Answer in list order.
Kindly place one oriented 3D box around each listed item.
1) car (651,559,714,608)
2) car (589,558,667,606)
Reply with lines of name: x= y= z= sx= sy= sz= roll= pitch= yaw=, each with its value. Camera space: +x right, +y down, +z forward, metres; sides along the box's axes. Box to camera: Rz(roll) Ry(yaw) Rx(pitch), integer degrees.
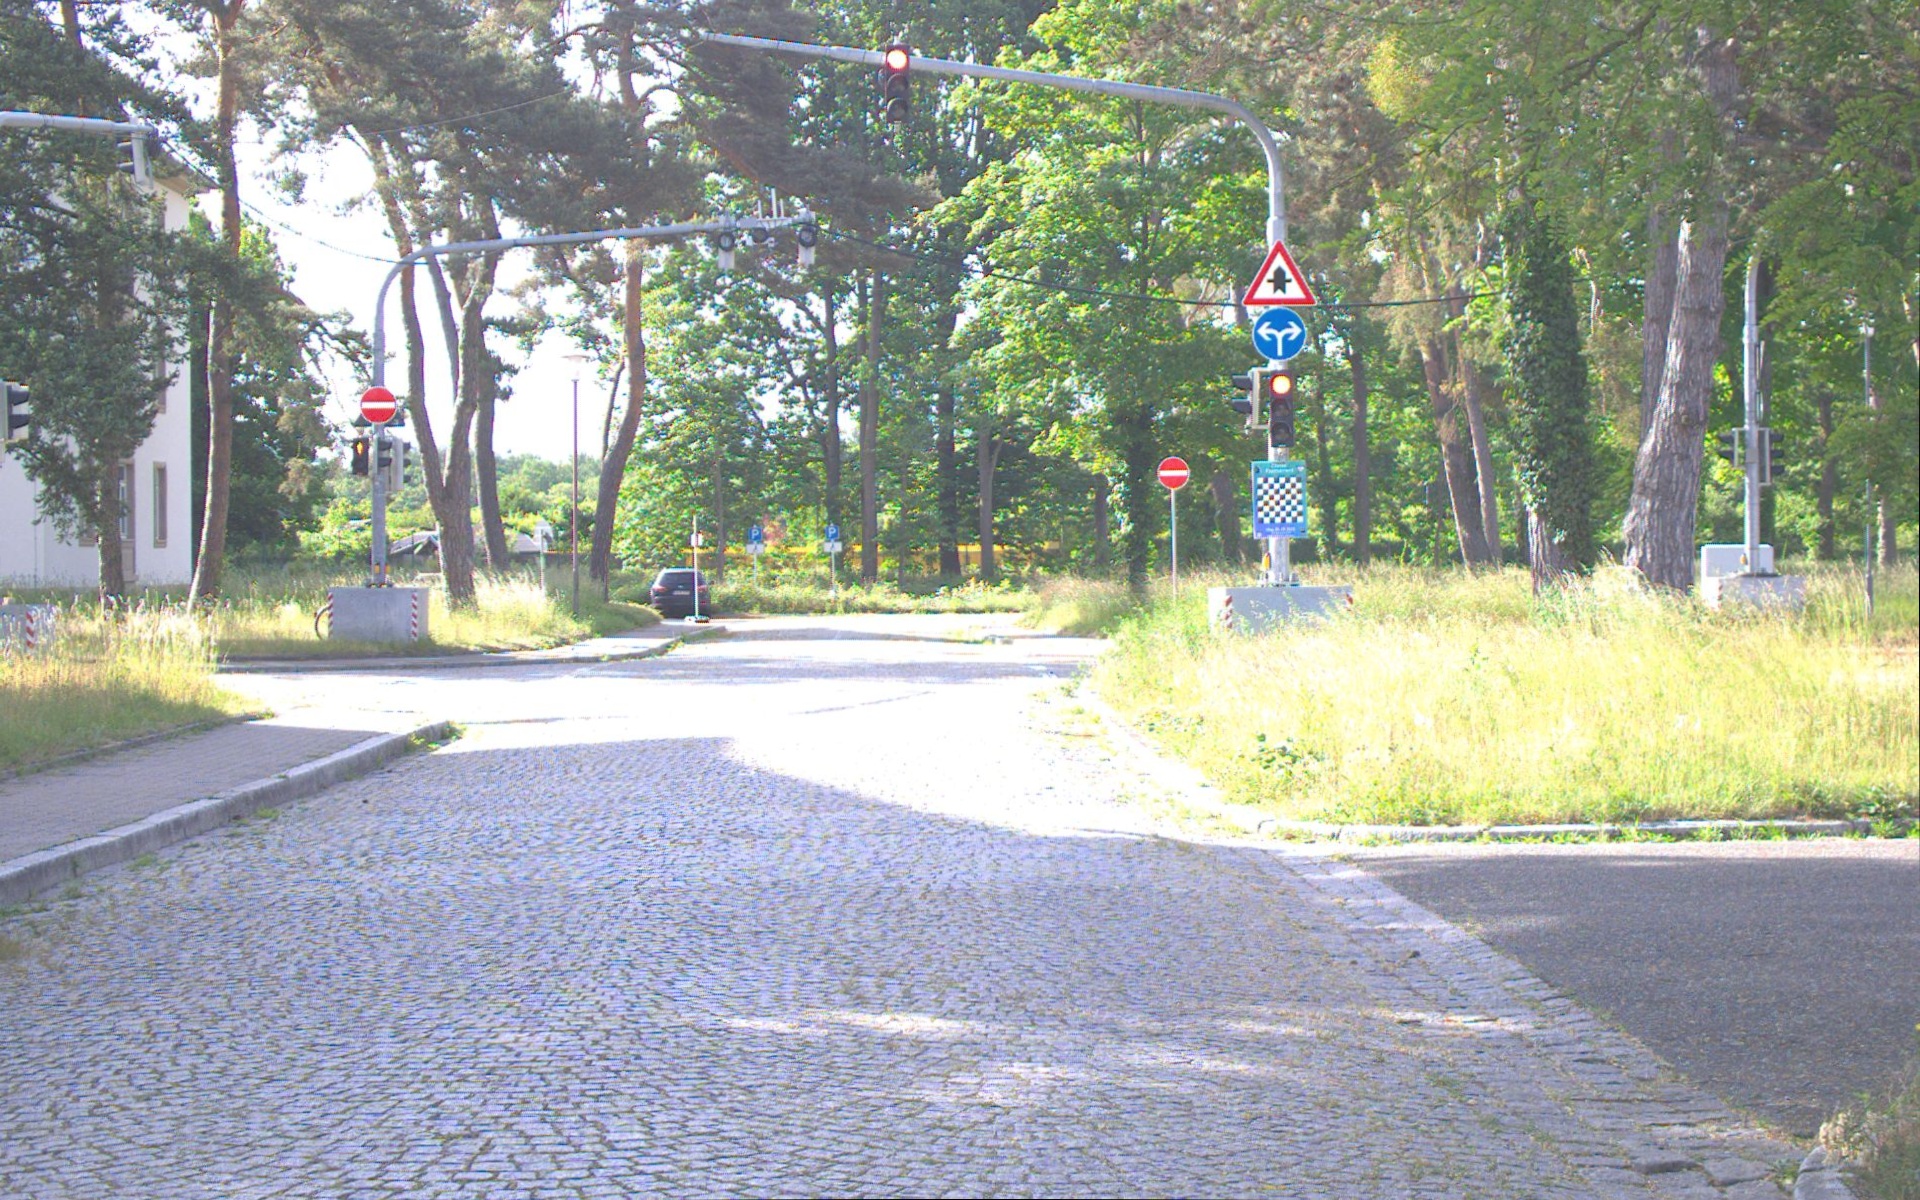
car: x=-8.537 y=-0.516 z=105.919 sx=1.844 sy=1.481 sz=4.001 roll=0 pitch=1 yaw=-4
car: x=-10.668 y=-0.585 z=110.656 sx=1.783 sy=1.485 sz=3.754 roll=0 pitch=1 yaw=6
